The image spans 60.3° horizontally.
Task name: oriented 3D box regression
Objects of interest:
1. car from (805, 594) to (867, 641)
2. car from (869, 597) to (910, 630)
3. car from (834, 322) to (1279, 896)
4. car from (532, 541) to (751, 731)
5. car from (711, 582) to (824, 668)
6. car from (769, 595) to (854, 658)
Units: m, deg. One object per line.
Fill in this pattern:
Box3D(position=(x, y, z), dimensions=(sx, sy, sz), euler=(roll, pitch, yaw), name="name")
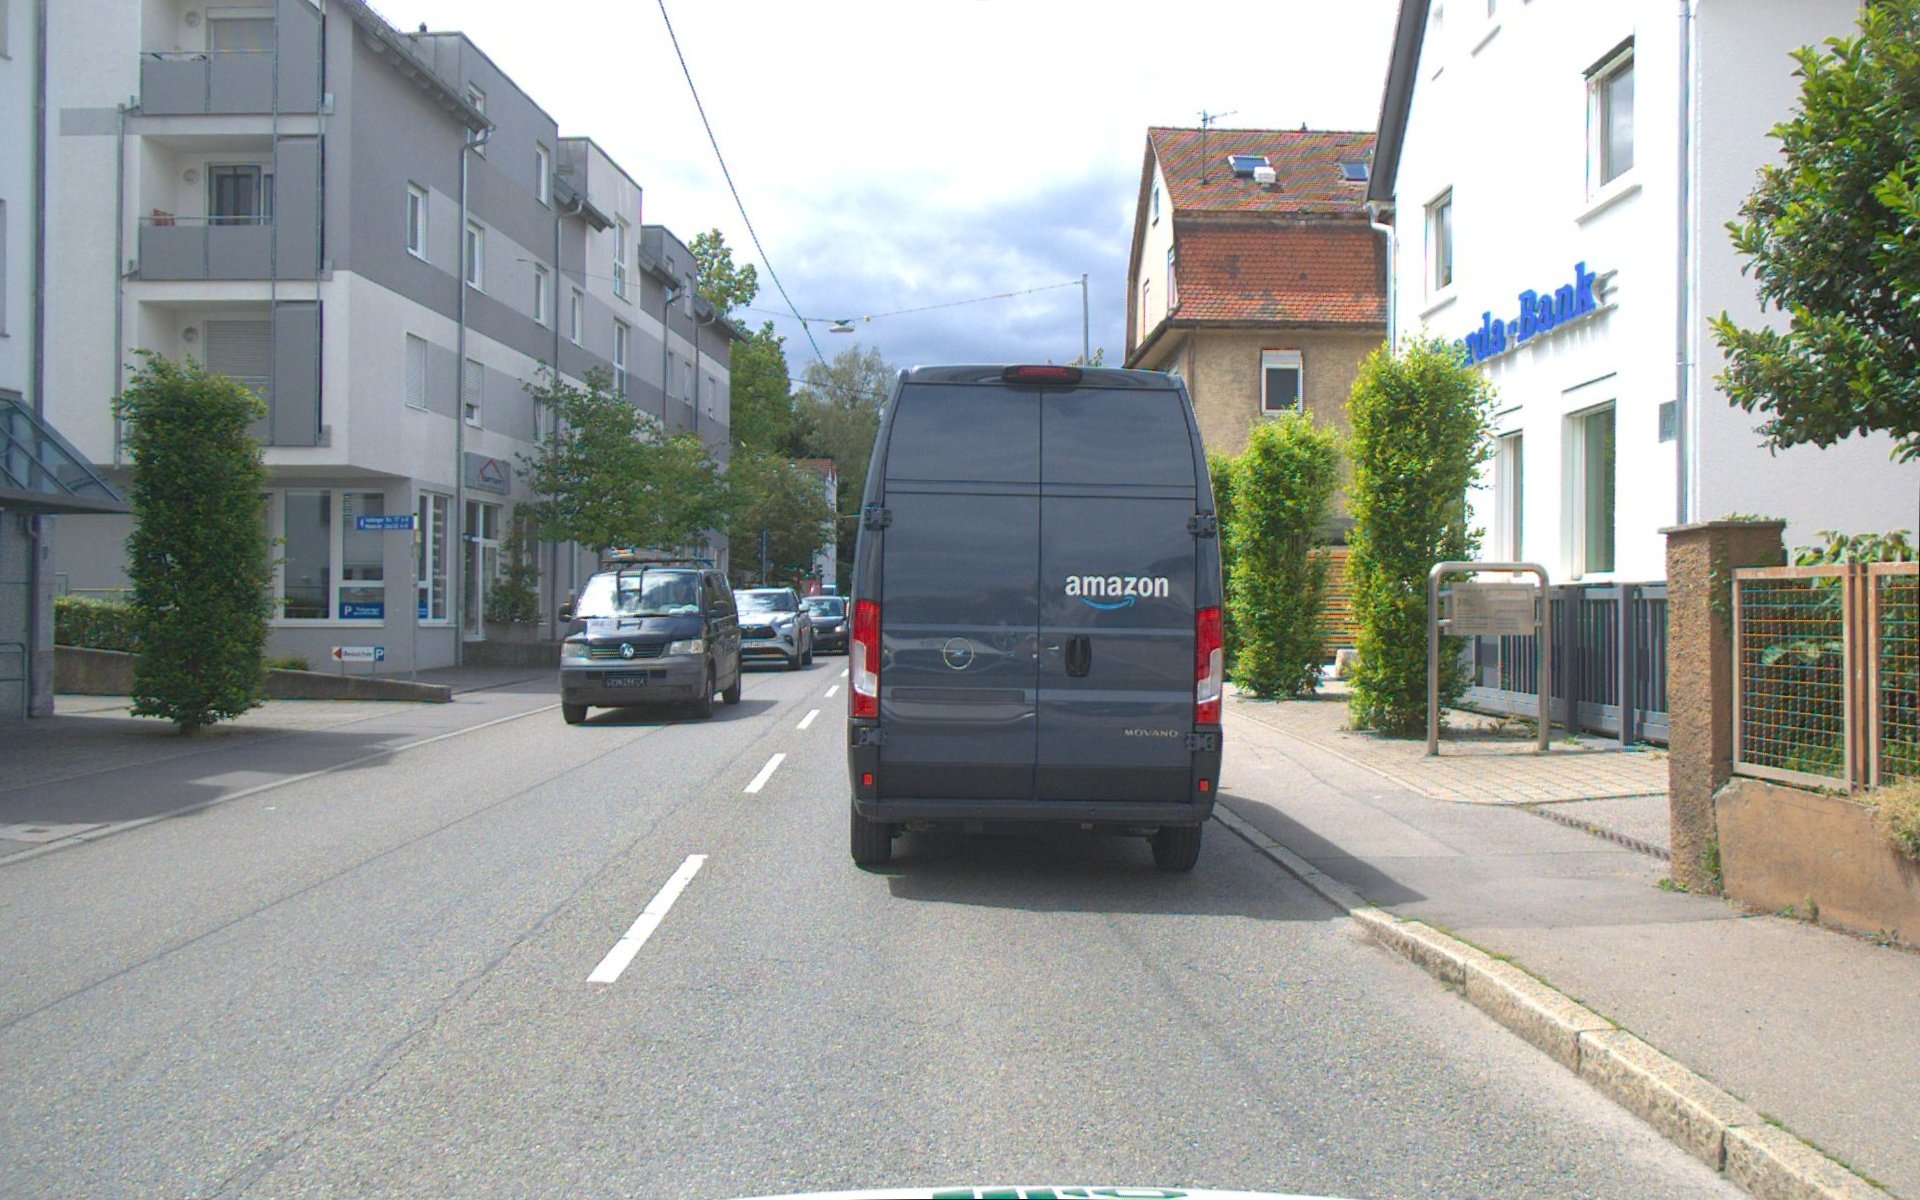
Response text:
Box3D(position=(-4.433, 0.593, 59.766), dimensions=(2.063, 1.624, 4.648), euler=(0, 0, -2), name="car")
Box3D(position=(-3.611, 0.687, 85.155), dimensions=(2.063, 1.624, 4.648), euler=(0, 0, -2), name="car")
Box3D(position=(0.437, 0.039, 11.002), dimensions=(2.207, 2.844, 5.568), euler=(0, 0, -1), name="car")
Box3D(position=(-4.047, 0.416, 21.843), dimensions=(2.063, 2.158, 4.763), euler=(-2, 0, -2), name="car")
Box3D(position=(-4.097, 0.502, 35.934), dimensions=(2.063, 1.739, 4.763), euler=(0, 0, -2), name="car")
Box3D(position=(-4.000, 0.691, 45.136), dimensions=(2.063, 1.624, 4.648), euler=(0, 0, -2), name="car")
